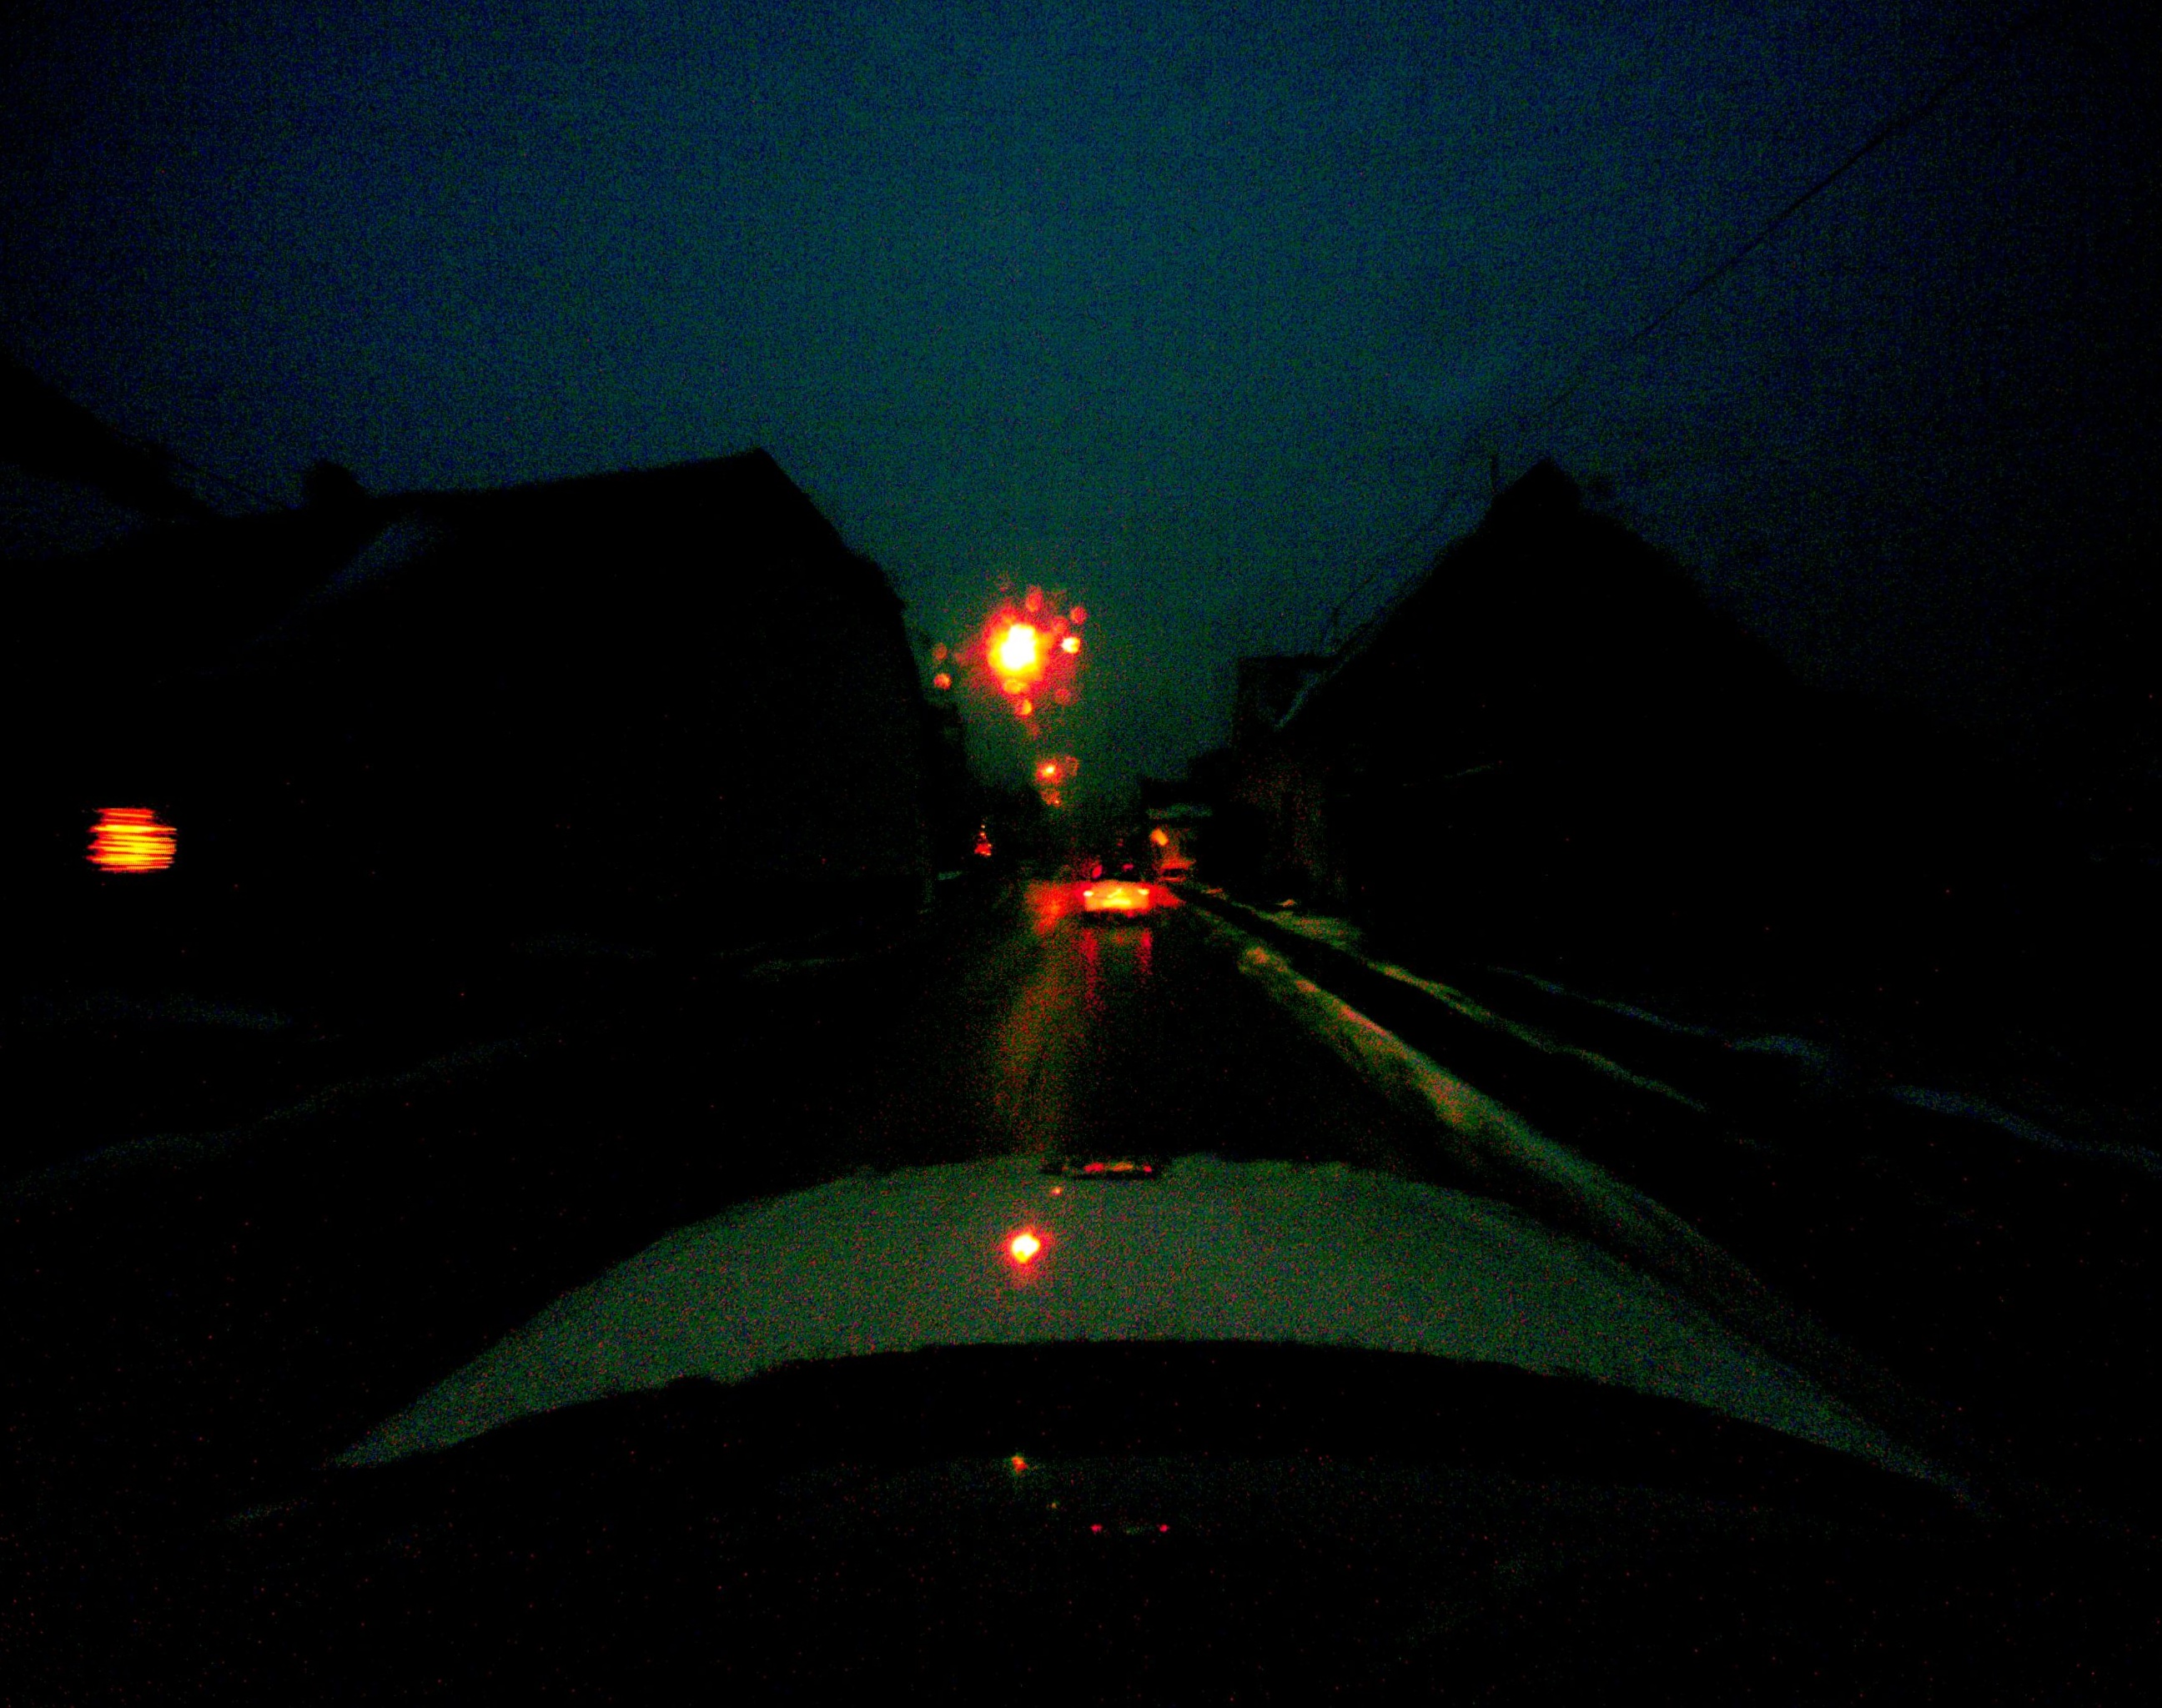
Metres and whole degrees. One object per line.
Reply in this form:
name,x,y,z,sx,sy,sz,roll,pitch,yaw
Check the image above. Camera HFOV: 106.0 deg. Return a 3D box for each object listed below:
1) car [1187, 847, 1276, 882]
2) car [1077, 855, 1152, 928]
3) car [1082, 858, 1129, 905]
car,6.995,0.462,37.983,3.735,1.497,1.819,-1,0,-5
car,0.864,0.852,19.719,1.638,1.596,3.703,0,-1,4
car,0.912,0.988,30.174,1.639,1.596,3.700,0,-1,2
